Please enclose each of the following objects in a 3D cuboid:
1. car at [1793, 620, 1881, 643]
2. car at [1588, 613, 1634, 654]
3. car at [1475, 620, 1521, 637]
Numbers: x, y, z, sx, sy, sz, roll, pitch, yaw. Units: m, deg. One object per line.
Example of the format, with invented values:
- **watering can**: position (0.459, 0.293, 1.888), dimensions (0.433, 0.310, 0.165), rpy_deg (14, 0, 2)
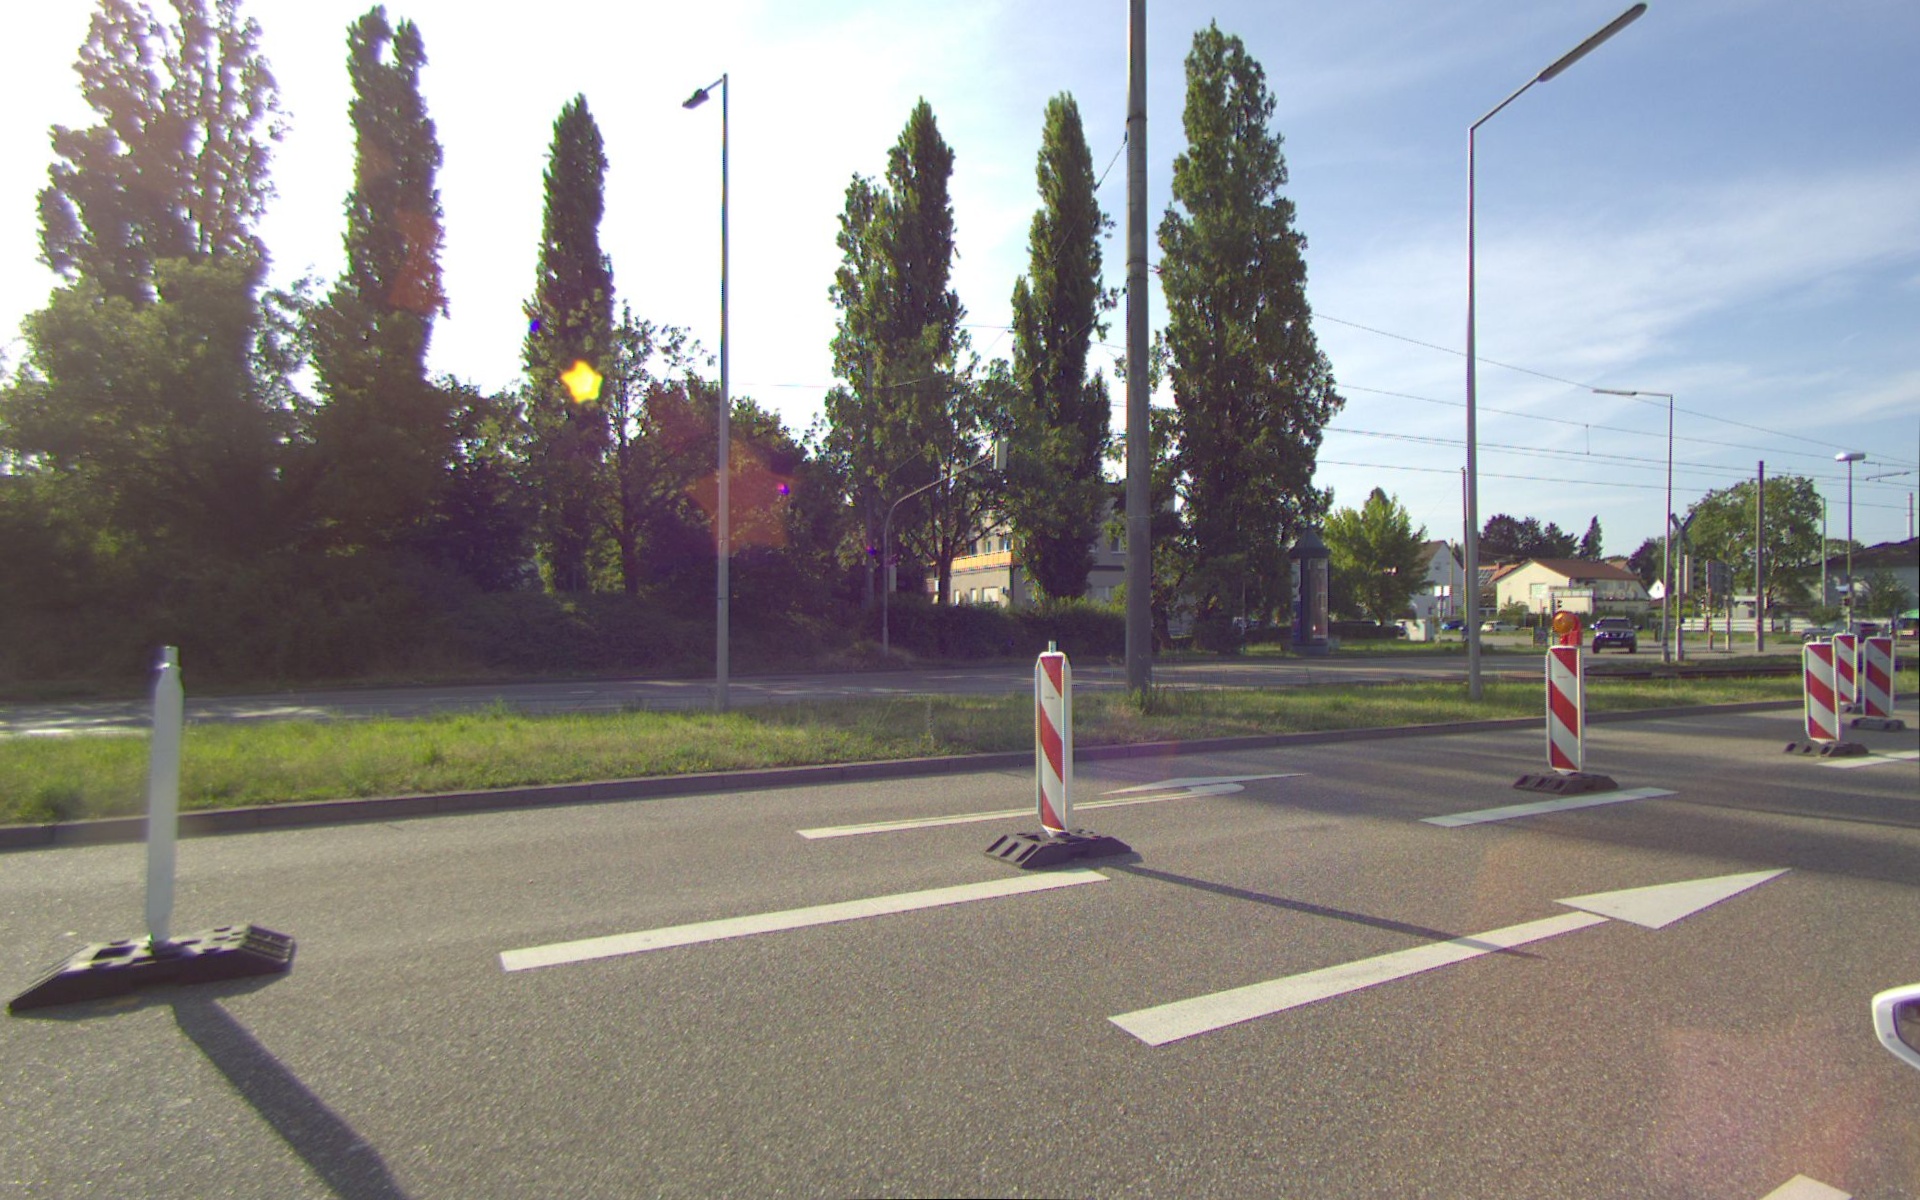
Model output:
- **car**: position (58.159, 2.074, 66.683), dimensions (1.971, 1.506, 3.979), rpy_deg (0, -1, -22)
- **car**: position (34.649, 1.740, 53.503), dimensions (1.966, 2.040, 5.344), rpy_deg (-1, -1, 33)
- **car**: position (57.539, 3.074, 107.429), dimensions (4.154, 1.706, 1.991), rpy_deg (2, 0, -19)
